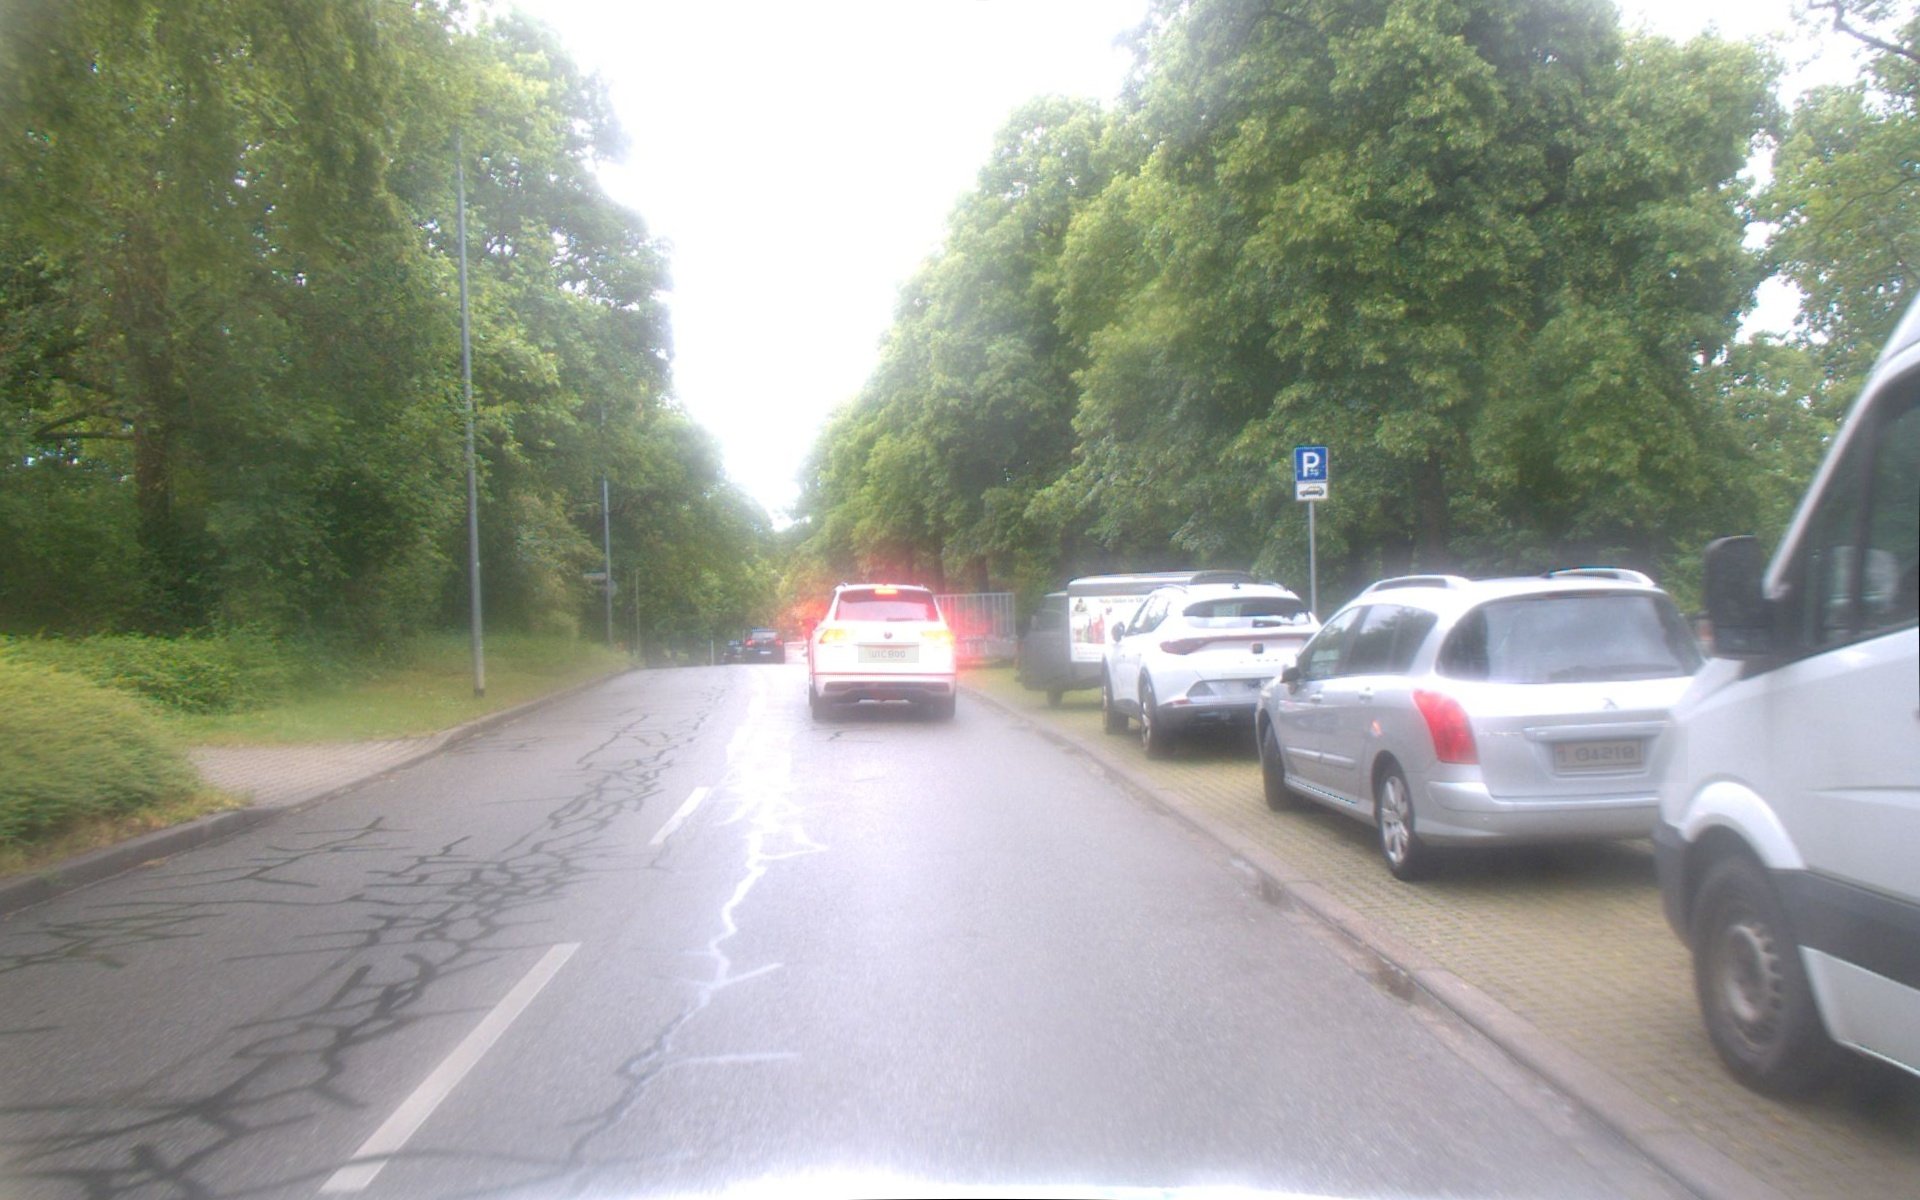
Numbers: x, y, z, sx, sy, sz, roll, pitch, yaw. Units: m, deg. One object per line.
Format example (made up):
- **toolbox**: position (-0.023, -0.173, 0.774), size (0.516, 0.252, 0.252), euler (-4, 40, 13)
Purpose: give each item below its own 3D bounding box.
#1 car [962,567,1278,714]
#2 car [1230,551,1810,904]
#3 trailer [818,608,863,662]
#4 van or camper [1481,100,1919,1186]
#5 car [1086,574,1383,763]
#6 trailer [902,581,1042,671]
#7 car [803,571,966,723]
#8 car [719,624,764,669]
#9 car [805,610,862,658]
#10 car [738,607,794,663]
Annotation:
- **car**: position (2.006, 0.505, 21.483), size (3.940, 1.710, 1.600), euler (-2, 1, 45)
- **car**: position (3.016, 0.575, 9.973), size (1.769, 1.565, 4.264), euler (-3, 1, -4)
- **trailer**: position (-5.090, 1.496, 70.088), size (1.502, 2.112, 3.991), euler (-3, -2, -9)
- **van or camper**: position (3.294, 0.118, 3.181), size (1.974, 2.627, 8.437), euler (-1, 2, 1)
- **car**: position (2.516, 0.545, 16.365), size (1.954, 1.523, 4.564), euler (-2, 1, -2)
- **trailer**: position (0.169, 0.637, 38.922), size (2.404, 1.844, 5.880), euler (-2, -1, -8)
- **car**: position (-0.999, 0.563, 21.733), size (1.867, 1.714, 4.198), euler (-3, 0, -3)
- **car**: position (-11.687, 2.463, 88.370), size (1.960, 2.048, 3.987), euler (-2, 2, -14)
- **car**: position (-5.776, 1.569, 74.900), size (1.958, 1.943, 5.494), euler (-2, -3, -10)
- **car**: position (-8.227, 1.443, 69.811), size (1.959, 2.048, 3.989), euler (-2, 2, -12)
